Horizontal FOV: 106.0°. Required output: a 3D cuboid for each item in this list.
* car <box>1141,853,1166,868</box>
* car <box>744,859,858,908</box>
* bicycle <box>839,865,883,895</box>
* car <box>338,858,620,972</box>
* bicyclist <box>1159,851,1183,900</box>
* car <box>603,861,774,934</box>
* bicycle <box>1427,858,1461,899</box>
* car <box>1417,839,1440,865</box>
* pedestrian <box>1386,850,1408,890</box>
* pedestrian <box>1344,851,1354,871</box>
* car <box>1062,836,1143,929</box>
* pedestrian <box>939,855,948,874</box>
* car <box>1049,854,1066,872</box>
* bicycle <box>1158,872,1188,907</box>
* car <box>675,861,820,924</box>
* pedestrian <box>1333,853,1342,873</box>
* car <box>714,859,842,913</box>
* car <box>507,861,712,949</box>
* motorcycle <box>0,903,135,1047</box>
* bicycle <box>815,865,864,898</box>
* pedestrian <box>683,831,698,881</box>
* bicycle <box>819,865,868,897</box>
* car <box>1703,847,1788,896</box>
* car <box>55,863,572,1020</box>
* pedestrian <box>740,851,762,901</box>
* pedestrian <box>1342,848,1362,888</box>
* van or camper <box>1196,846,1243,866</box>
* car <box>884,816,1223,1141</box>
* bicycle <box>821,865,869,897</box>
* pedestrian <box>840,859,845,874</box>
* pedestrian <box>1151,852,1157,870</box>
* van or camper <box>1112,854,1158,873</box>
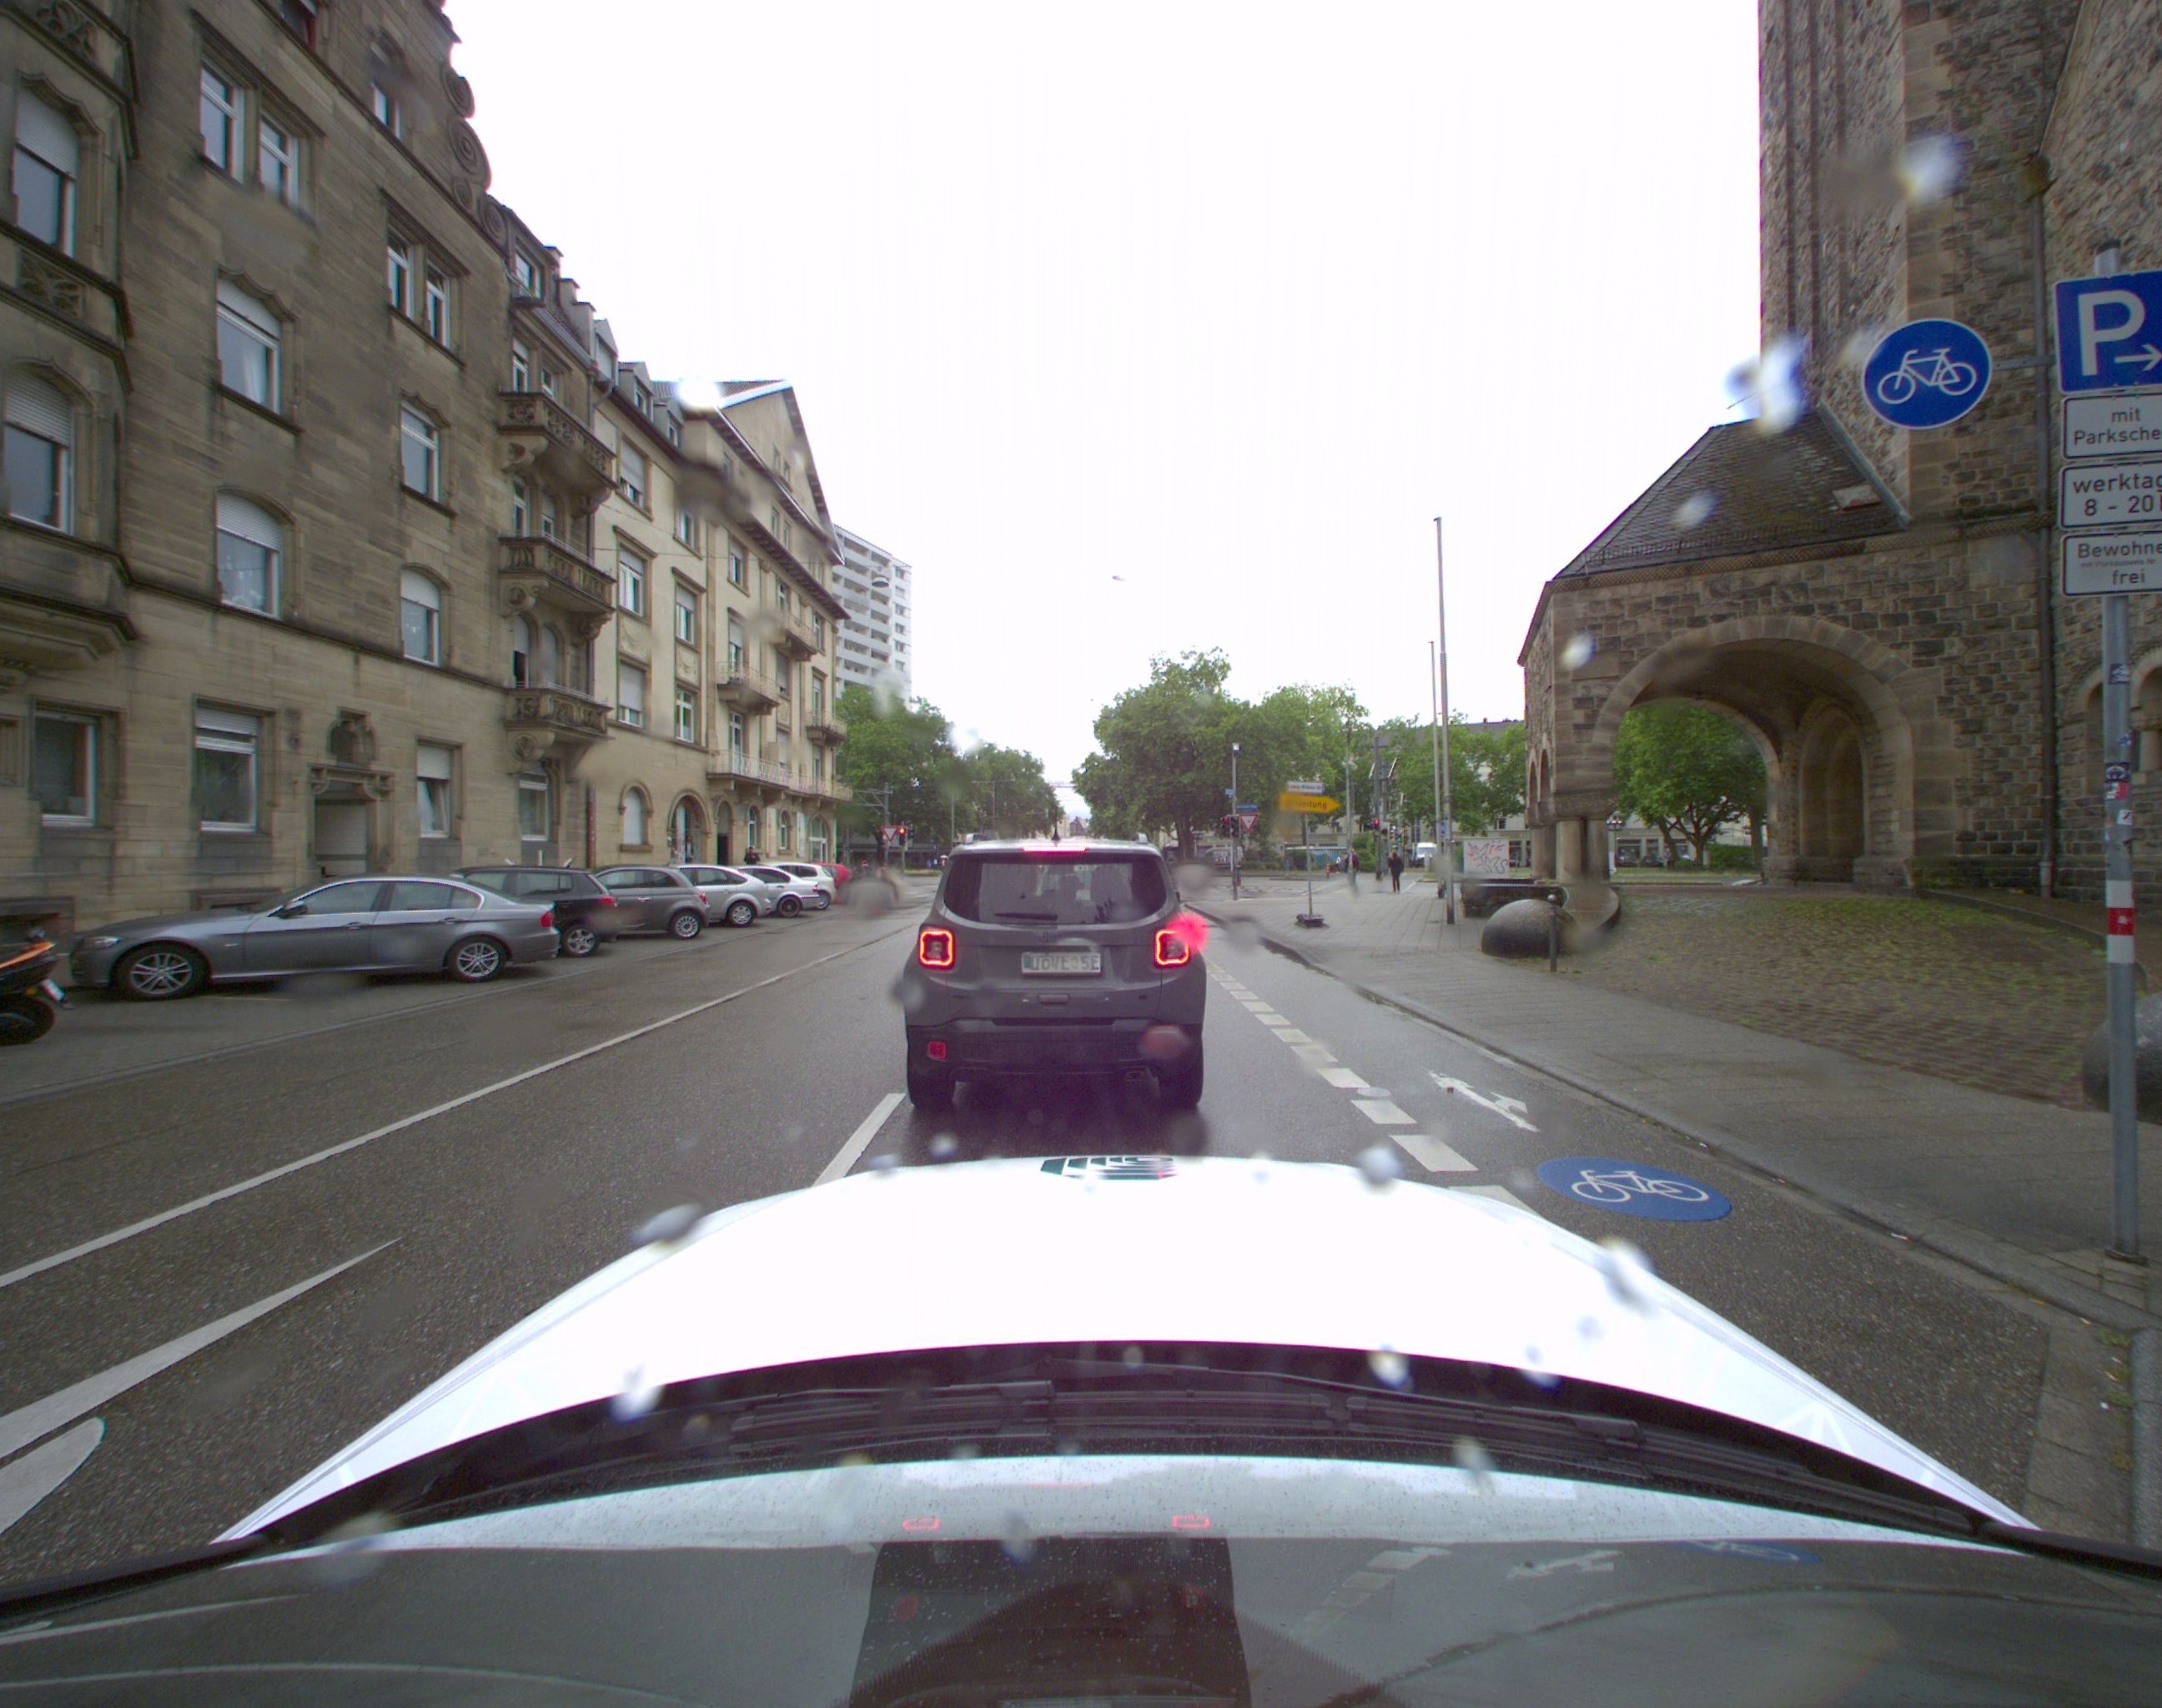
[{"bbox_3d":[10.685,0.932,119.468,3.411,2.014,1.554,-2,-1,15],"label":"car"},{"bbox_3d":[-9.772,0.997,28.505,3.419,1.558,1.686,-1,0,-38],"label":"car"},{"bbox_3d":[-9.573,1.136,35.474,1.758,1.266,0.608,-1,-1,-1],"label":"bicycle"},{"bbox_3d":[-9.785,0.897,13.471,3.571,1.598,1.587,-1,0,-38],"label":"car"},{"bbox_3d":[3.021,0.704,27.388,0.684,1.617,0.884,-2,0,0],"label":"bicyclist"},{"bbox_3d":[-9.395,0.980,19.582,3.419,1.558,1.686,-1,0,-38],"label":"car"},{"bbox_3d":[10.976,0.717,24.653,0.327,1.154,2.079,-1,0,7],"label":"bicycle"},{"bbox_3d":[35.504,-0.151,83.201,1.889,2.555,4.815,-1,0,25],"label":"car"},{"bbox_3d":[13.187,0.651,33.993,0.775,1.645,0.659,-2,-1,25],"label":"pedestrian"},{"bbox_3d":[22.031,0.585,66.931,0.667,1.554,0.766,-1,-2,29],"label":"pedestrian"},{"bbox_3d":[0.522,0.631,19.956,1.764,2.013,4.001,-1,0,1],"label":"car"},{"bbox_3d":[-13.425,0.986,79.518,0.613,1.826,0.698,-2,-1,23],"label":"pedestrian"},{"bbox_3d":[-2.415,0.931,84.739,1.717,1.739,3.726,-1,0,-2],"label":"car"},{"bbox_3d":[3.060,1.167,27.360,0.689,1.021,2.658,-2,0,1],"label":"bicycle"},{"bbox_3d":[-9.289,1.014,22.765,3.419,1.558,1.686,-1,0,-38],"label":"car"},{"bbox_3d":[20.770,0.710,66.051,0.607,1.603,0.497,-1,-1,26],"label":"pedestrian"},{"bbox_3d":[-9.515,0.958,25.630,3.419,1.558,1.686,-1,0,-38],"label":"car"},{"bbox_3d":[-9.543,0.955,16.555,3.419,1.558,1.634,-1,0,-38],"label":"car"},{"bbox_3d":[-9.413,1.008,6.766,1.880,1.162,0.627,2,-2,-36],"label":"motorcycle"},{"bbox_3d":[-9.599,1.096,32.335,1.758,1.266,0.522,-1,-1,-1],"label":"bicycle"},{"bbox_3d":[-14.404,0.061,30.019,0.365,1.823,0.347,-2,-1,-1],"label":"pedestrian"},{"bbox_3d":[-9.601,1.090,32.882,1.804,1.266,0.498,-1,-1,-1],"label":"bicycle"},{"bbox_3d":[21.521,0.540,26.492,1.389,1.479,3.239,-1,0,25],"label":"car"},{"bbox_3d":[-9.416,0.927,10.541,4.573,1.545,1.668,-1,0,-42],"label":"car"},{"bbox_3d":[-13.378,0.878,33.013,0.565,2.014,0.655,-1,-1,1],"label":"pedestrian"},{"bbox_3d":[12.197,0.626,36.732,0.780,1.759,0.949,-2,-1,16],"label":"pedestrian"},{"bbox_3d":[16.029,0.202,94.616,5.234,2.315,2.093,0,0,5],"label":"van or camper"},{"bbox_3d":[-0.121,0.670,6.289,1.769,1.687,3.848,-2,0,1],"label":"car"},{"bbox_3d":[-9.712,1.103,33.568,1.804,1.266,0.498,-1,-1,-1],"label":"bicycle"},{"bbox_3d":[-25.507,1.332,86.976,0.442,1.530,0.640,-1,-1,-14],"label":"pedestrian"},{"bbox_3d":[8.285,0.818,92.492,0.646,2.014,0.484,-1,-1,14],"label":"pedestrian"},{"bbox_3d":[8.205,1.469,124.759,6.466,2.912,2.509,-1,0,26],"label":"van or camper"}]
